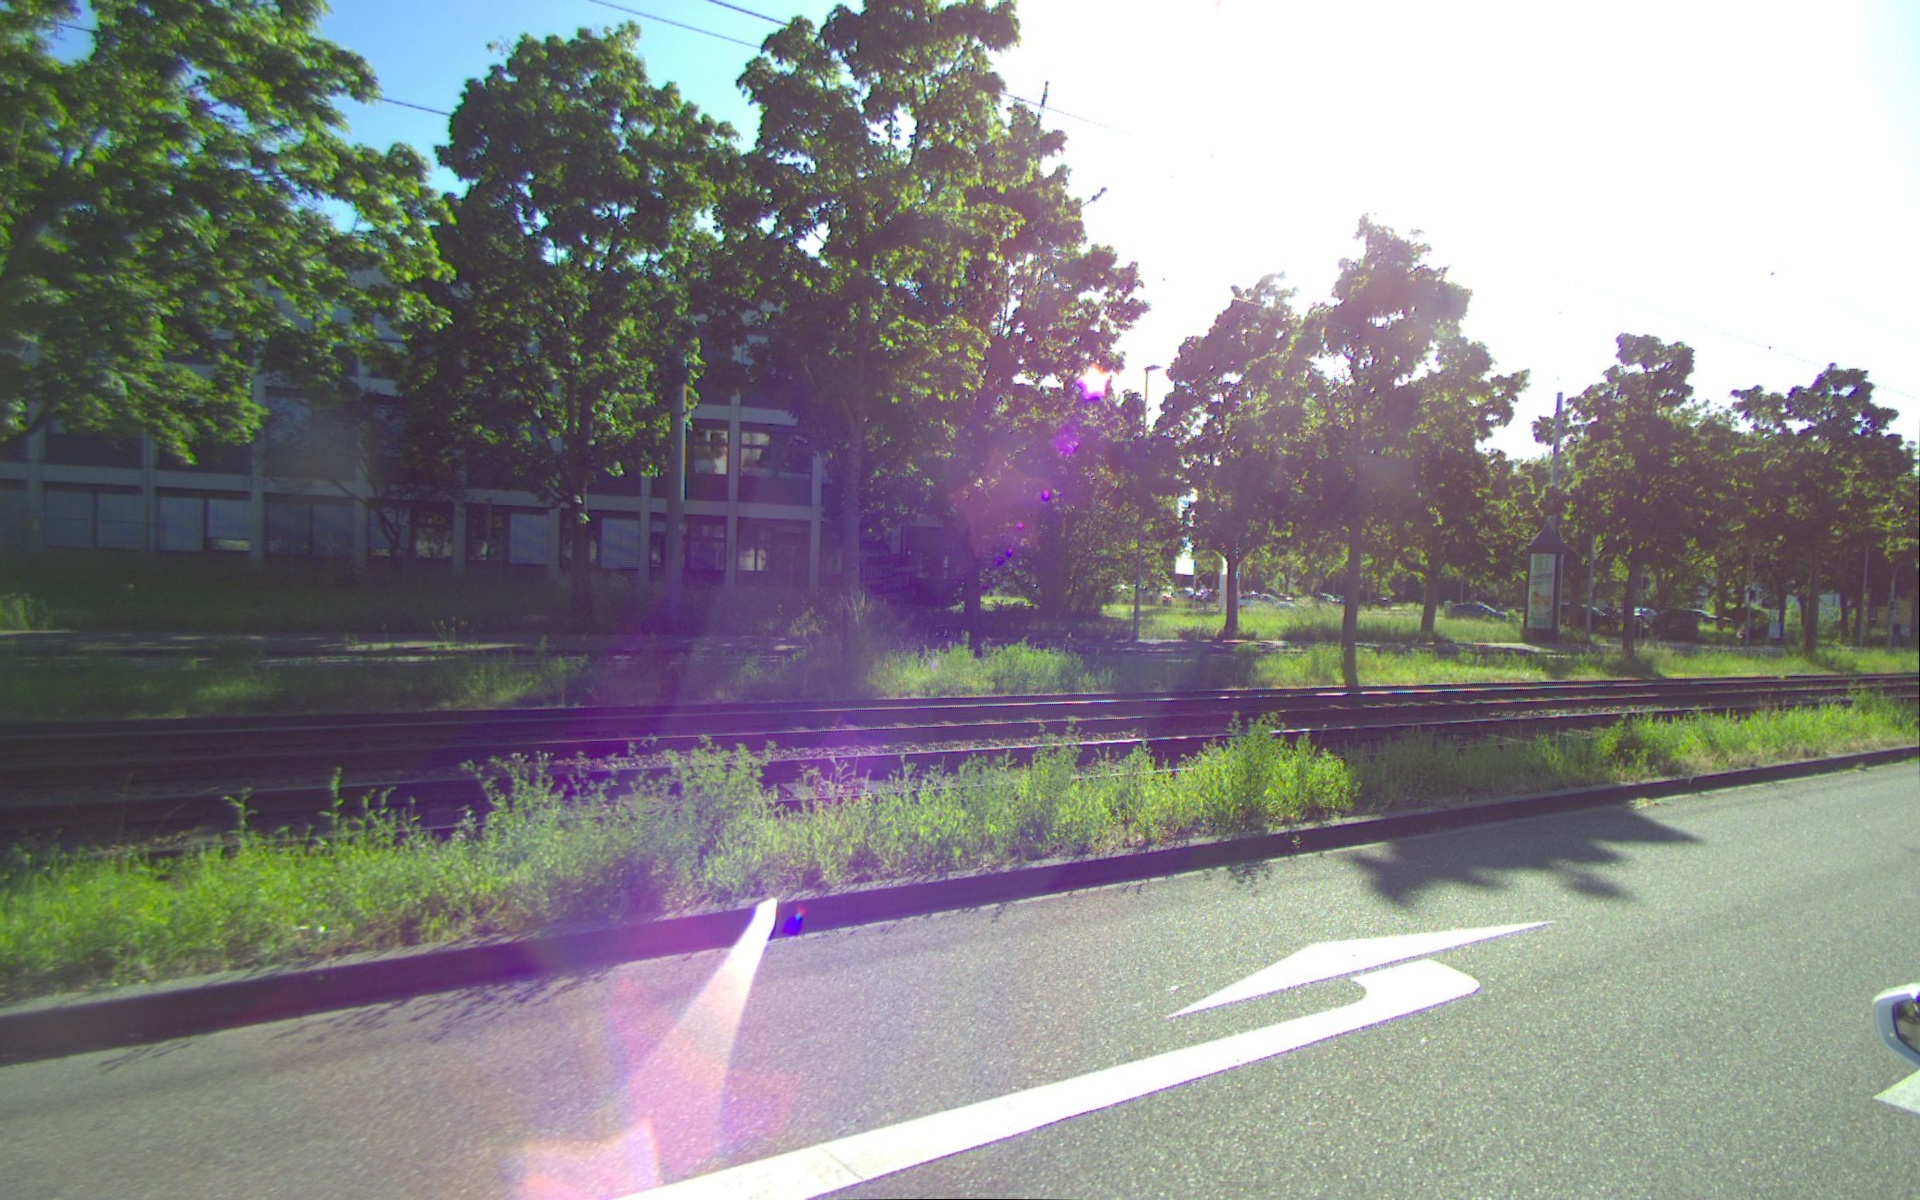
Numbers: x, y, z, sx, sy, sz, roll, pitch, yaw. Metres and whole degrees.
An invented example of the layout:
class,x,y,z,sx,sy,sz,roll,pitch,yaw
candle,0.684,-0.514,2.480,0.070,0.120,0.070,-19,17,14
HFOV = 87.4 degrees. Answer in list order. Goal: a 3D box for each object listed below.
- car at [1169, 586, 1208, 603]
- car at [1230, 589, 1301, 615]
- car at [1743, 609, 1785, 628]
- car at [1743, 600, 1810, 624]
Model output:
class,x,y,z,sx,sy,sz,roll,pitch,yaw
car,25.678,-0.579,112.984,1.815,1.690,3.955,1,2,-39
car,21.525,0.110,70.841,4.364,1.662,1.981,3,1,40
car,74.772,1.721,93.408,4.038,1.565,1.571,2,2,-28
car,80.163,1.183,98.662,1.999,2.119,4.695,1,1,-32
